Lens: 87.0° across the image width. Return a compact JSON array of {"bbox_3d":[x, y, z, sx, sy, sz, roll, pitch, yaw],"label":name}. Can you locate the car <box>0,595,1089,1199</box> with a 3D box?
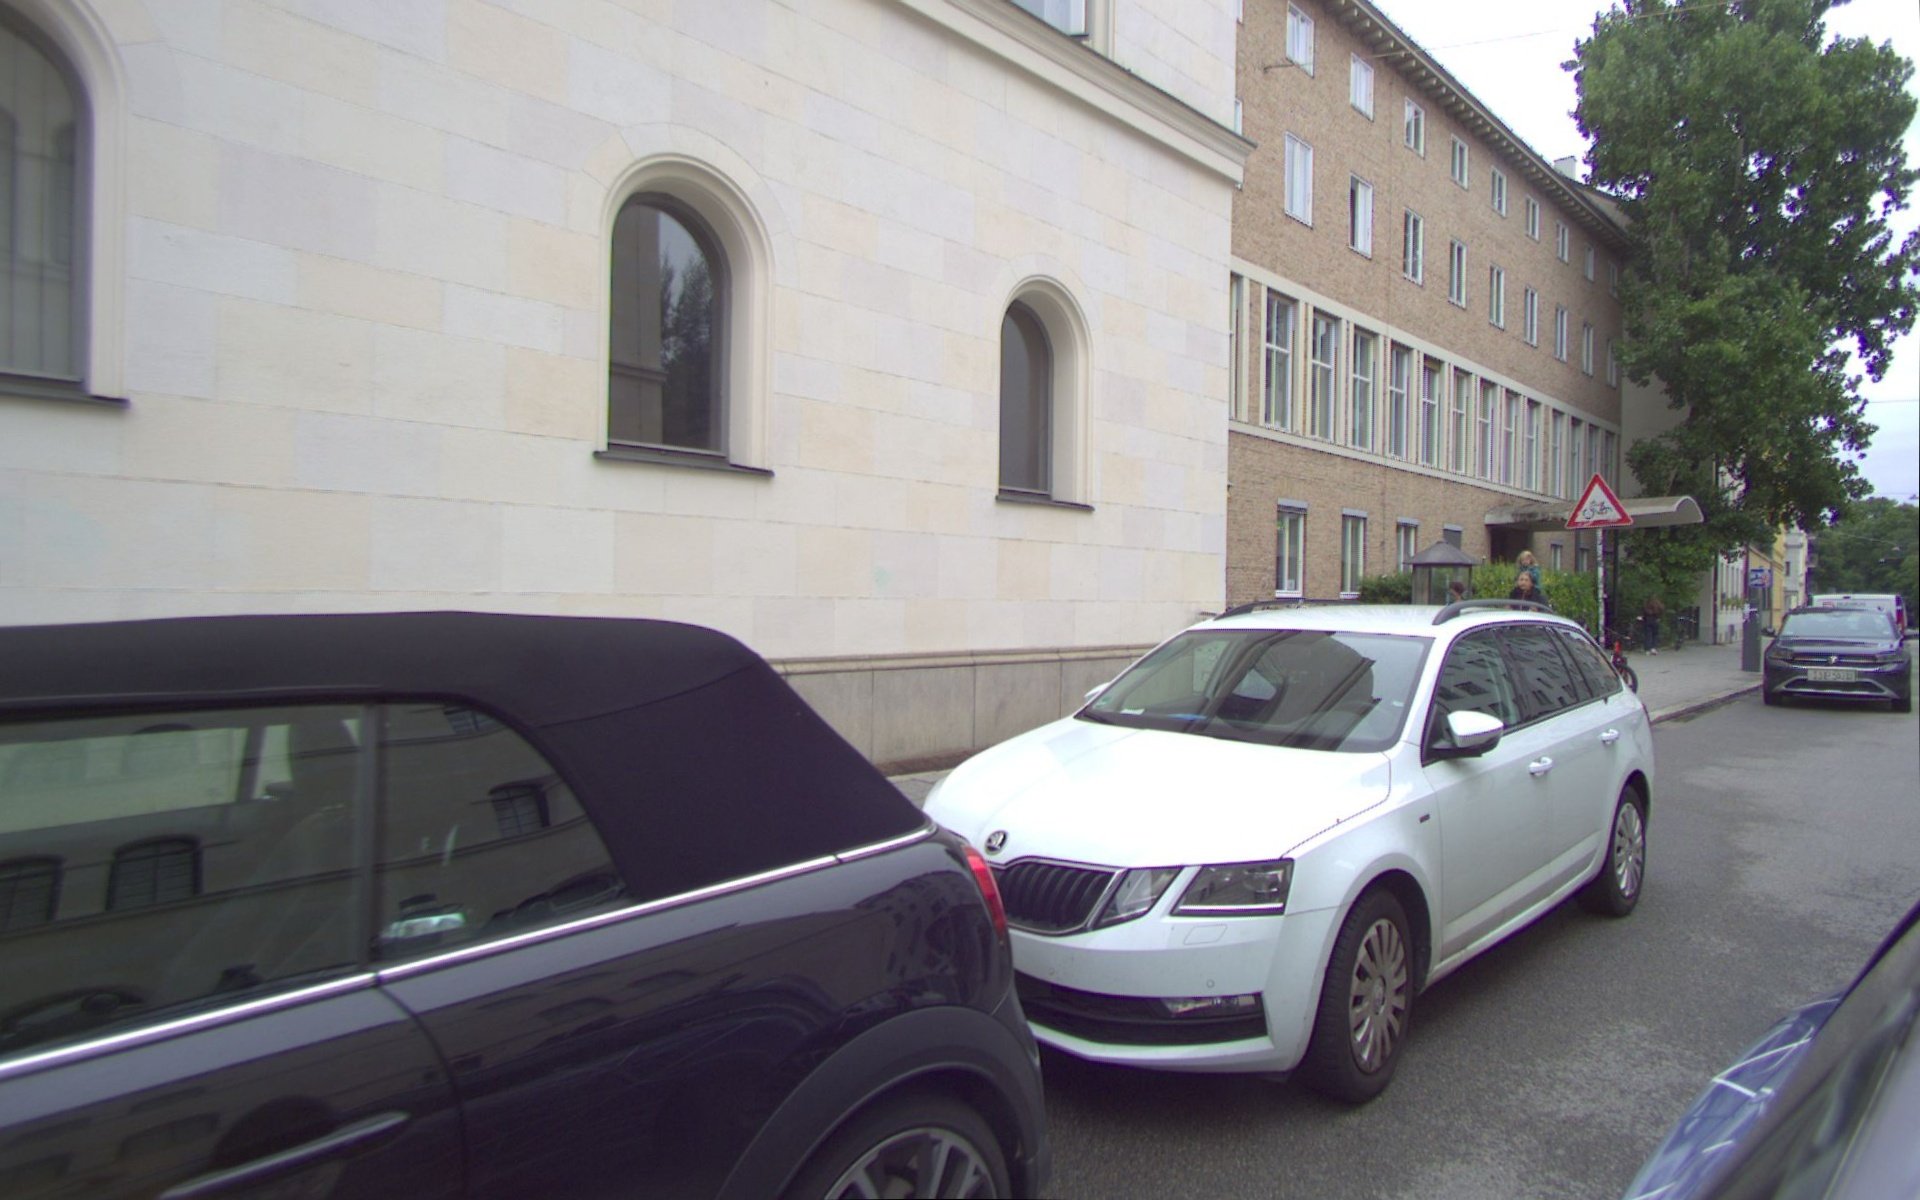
[{"bbox_3d":[-1.635,0.721,1.329,3.707,1.444,1.542,0,0,-42],"label":"car"}]

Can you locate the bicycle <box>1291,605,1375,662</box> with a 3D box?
[{"bbox_3d":[7.557,0.655,20.574,0.342,1.055,1.634,1,1,-39],"label":"bicycle"}]

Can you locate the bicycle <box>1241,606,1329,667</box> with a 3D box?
[{"bbox_3d":[6.170,0.671,19.286,0.342,1.055,1.634,1,1,-39],"label":"bicycle"}]

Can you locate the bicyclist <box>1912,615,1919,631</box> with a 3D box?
[{"bbox_3d":[100.669,2.449,106.448,0.685,1.648,0.840,0,-1,41],"label":"bicyclist"}]

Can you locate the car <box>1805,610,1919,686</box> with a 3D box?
[{"bbox_3d":[19.191,0.935,21.355,4.131,1.435,1.674,1,-1,-44],"label":"car"}]

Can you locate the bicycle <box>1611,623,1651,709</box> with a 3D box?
[{"bbox_3d":[9.174,0.865,13.812,0.346,1.054,1.614,4,2,35],"label":"bicycle"}]

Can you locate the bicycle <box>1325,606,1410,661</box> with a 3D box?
[{"bbox_3d":[8.570,0.686,21.311,1.630,1.055,0.343,3,1,44],"label":"bicycle"}]

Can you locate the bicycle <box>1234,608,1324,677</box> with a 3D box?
[{"bbox_3d":[5.338,0.695,16.995,0.342,1.055,1.431,1,1,-43],"label":"bicycle"}]

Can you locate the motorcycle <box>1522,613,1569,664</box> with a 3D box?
[{"bbox_3d":[12.773,0.828,22.053,0.488,1.067,1.894,0,-1,43],"label":"motorcycle"}]

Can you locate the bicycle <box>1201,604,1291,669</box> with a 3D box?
[{"bbox_3d":[5.125,0.632,18.238,0.342,1.055,1.634,1,1,-39],"label":"bicycle"}]

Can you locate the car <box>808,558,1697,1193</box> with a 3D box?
[{"bbox_3d":[1.622,0.653,4.480,4.238,1.495,1.792,1,1,-42],"label":"car"}]

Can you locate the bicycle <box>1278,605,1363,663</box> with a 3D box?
[{"bbox_3d":[7.196,0.668,20.259,0.342,1.055,1.634,1,1,-39],"label":"bicycle"}]

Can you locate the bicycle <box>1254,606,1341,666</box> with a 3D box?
[{"bbox_3d":[6.496,0.669,19.550,0.342,1.055,1.634,1,1,-39],"label":"bicycle"}]

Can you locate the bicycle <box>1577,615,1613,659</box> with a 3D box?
[{"bbox_3d":[15.644,0.902,24.919,1.463,1.067,0.422,1,-1,-45],"label":"bicycle"}]

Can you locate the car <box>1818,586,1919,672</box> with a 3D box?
[{"bbox_3d":[22.969,0.684,25.406,1.882,1.948,4.796,1,0,44],"label":"car"}]

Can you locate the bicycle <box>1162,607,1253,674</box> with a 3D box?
[{"bbox_3d":[4.281,0.683,17.603,0.342,1.055,1.634,1,1,-39],"label":"bicycle"}]

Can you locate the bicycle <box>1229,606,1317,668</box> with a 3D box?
[{"bbox_3d":[5.794,0.665,18.801,0.342,1.055,1.634,1,1,-39],"label":"bicycle"}]

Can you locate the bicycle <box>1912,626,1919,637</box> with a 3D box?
[{"bbox_3d":[100.652,3.283,106.446,0.732,1.165,1.969,1,-1,41],"label":"bicycle"}]

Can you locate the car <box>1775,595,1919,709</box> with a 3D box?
[{"bbox_3d":[14.407,0.739,16.264,1.747,1.614,3.894,0,0,43],"label":"car"}]

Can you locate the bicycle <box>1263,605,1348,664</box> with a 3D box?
[{"bbox_3d":[6.795,0.666,19.951,0.342,1.055,1.634,1,1,-39],"label":"bicycle"}]

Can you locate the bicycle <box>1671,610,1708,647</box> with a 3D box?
[{"bbox_3d":[22.356,0.863,30.985,0.670,1.087,2.190,1,0,42],"label":"bicycle"}]

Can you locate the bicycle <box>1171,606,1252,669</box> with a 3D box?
[{"bbox_3d":[4.525,0.660,18.277,0.342,1.055,1.431,1,1,-43],"label":"bicycle"}]

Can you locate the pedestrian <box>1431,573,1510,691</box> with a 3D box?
[{"bbox_3d":[7.723,0.466,15.313,0.738,1.715,0.859,2,-1,-40],"label":"pedestrian"}]

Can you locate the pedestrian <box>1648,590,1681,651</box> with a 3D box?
[{"bbox_3d":[19.698,0.567,28.287,0.862,1.653,0.588,2,-1,-42],"label":"pedestrian"}]

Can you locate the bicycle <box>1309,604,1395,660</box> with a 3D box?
[{"bbox_3d":[8.117,0.653,20.991,0.343,1.055,1.631,1,1,-45],"label":"bicycle"}]

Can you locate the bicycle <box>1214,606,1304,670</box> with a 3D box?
[{"bbox_3d":[5.457,0.671,18.550,0.342,1.055,1.634,1,1,-39],"label":"bicycle"}]

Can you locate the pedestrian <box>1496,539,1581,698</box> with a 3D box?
[{"bbox_3d":[8.408,0.243,14.714,0.800,2.224,0.794,1,2,-43],"label":"pedestrian"}]
